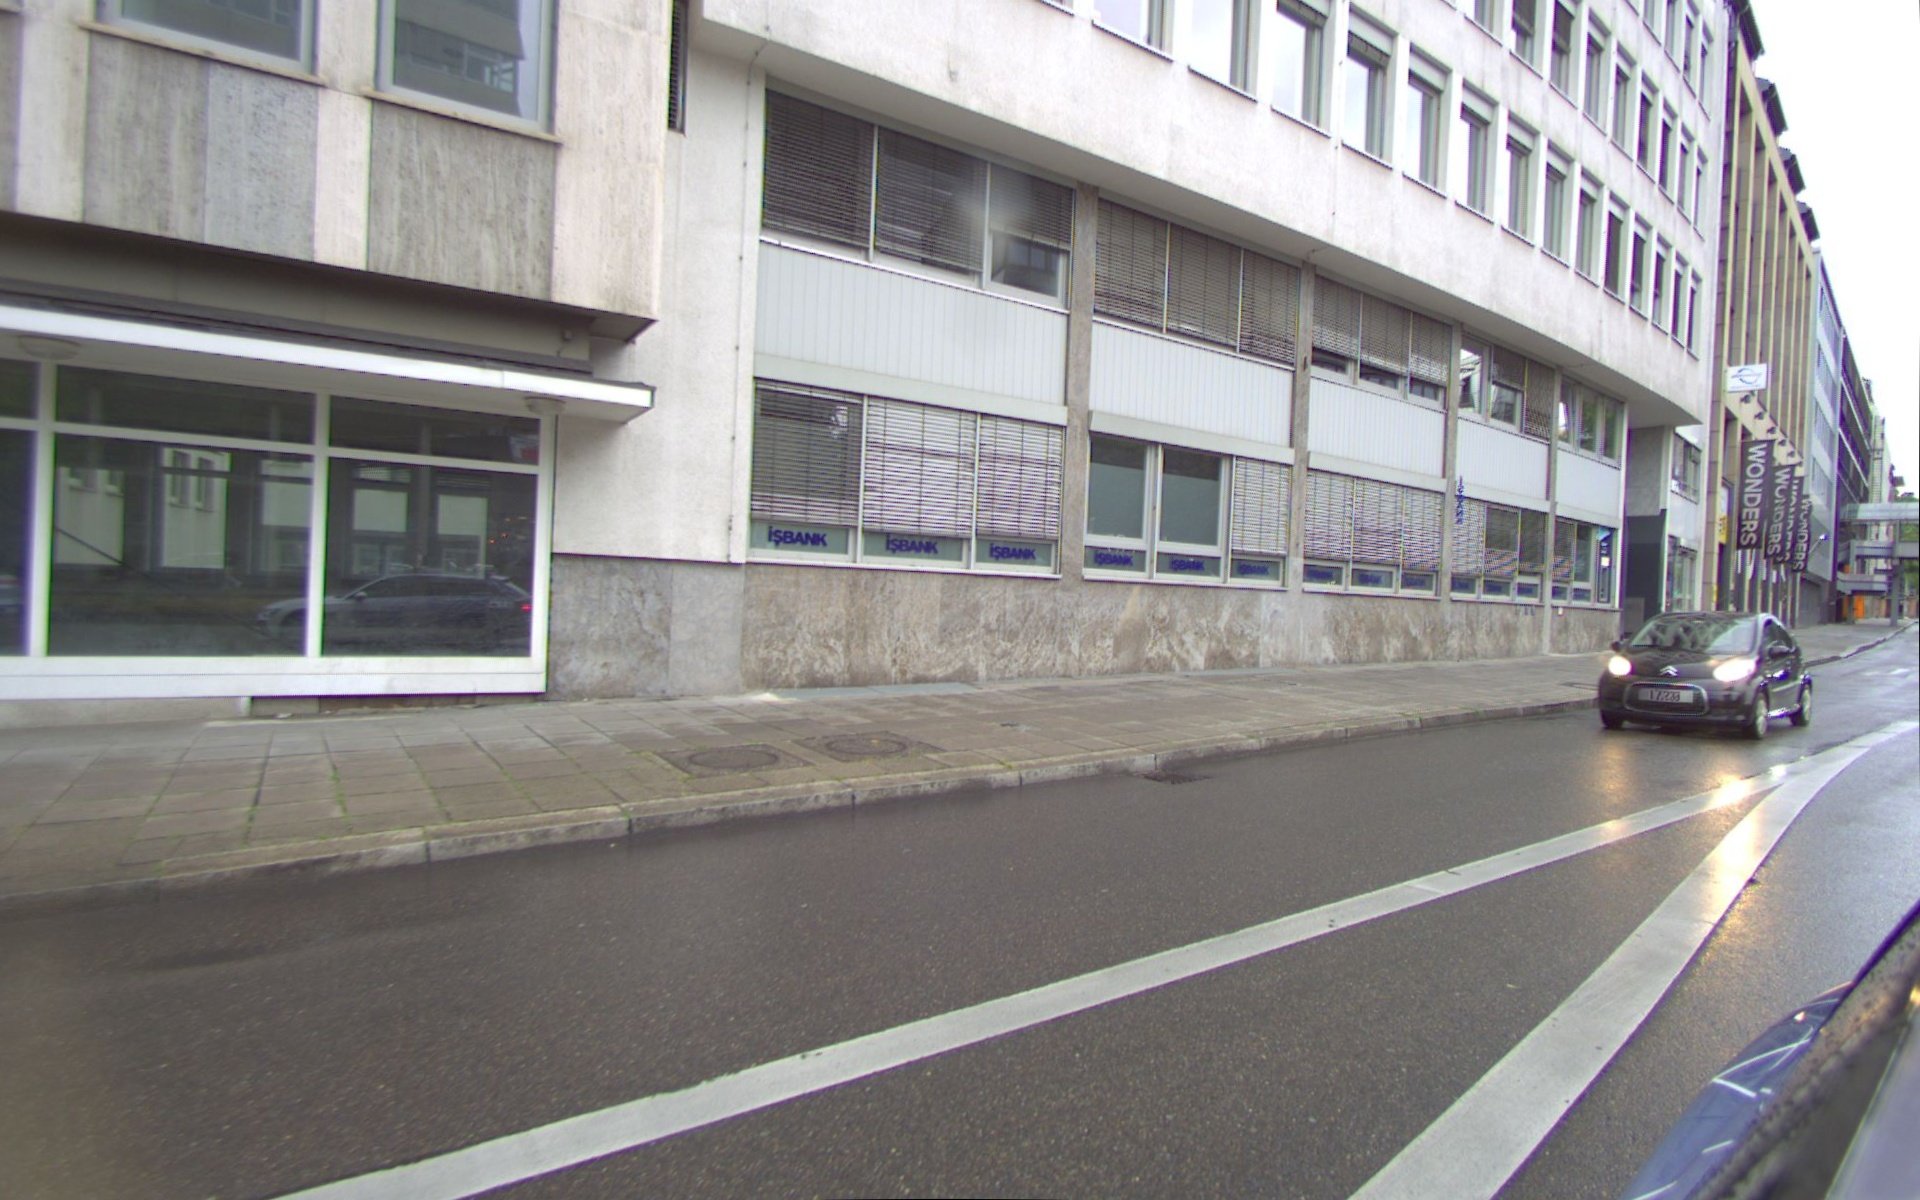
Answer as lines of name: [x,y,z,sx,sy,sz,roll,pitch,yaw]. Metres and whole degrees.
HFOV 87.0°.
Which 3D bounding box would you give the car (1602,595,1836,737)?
car: [9.460,0.711,12.534,3.423,1.491,1.665,1,0,-42]
